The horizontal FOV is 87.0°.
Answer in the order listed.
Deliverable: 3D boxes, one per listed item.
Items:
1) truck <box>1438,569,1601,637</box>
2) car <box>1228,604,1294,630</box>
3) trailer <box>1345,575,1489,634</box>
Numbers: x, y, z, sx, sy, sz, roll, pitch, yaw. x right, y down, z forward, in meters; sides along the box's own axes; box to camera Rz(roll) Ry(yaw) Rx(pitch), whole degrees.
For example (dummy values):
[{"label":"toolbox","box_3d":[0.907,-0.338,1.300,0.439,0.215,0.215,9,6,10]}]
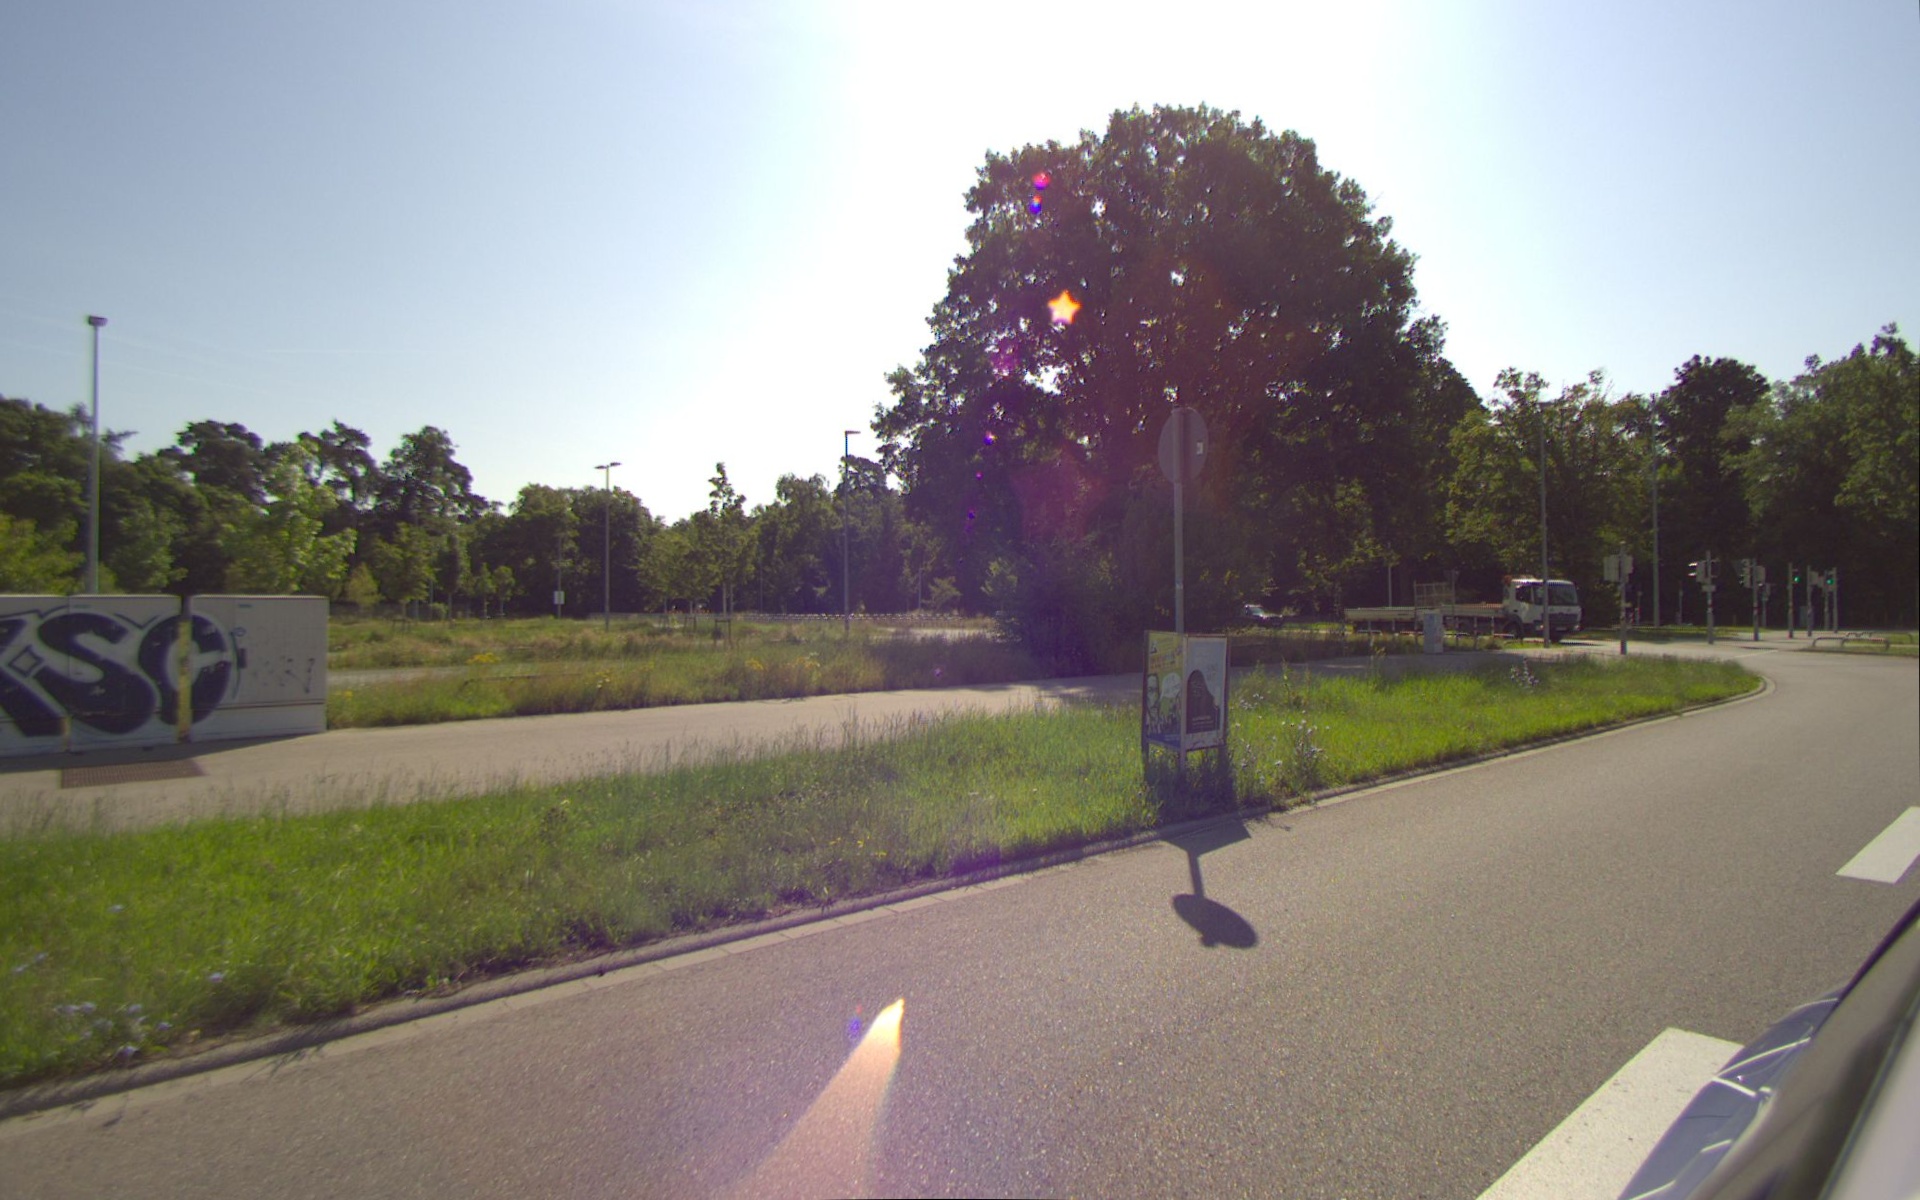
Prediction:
[{"label":"truck","box_3d":[24.112,0.138,44.003,2.624,2.752,6.214,0,-1,-14]},{"label":"car","box_3d":[18.198,1.002,61.373,1.808,1.503,4.008,0,-1,-20]},{"label":"trailer","box_3d":[22.464,0.258,50.229,2.647,2.722,6.901,0,-1,-15]}]
